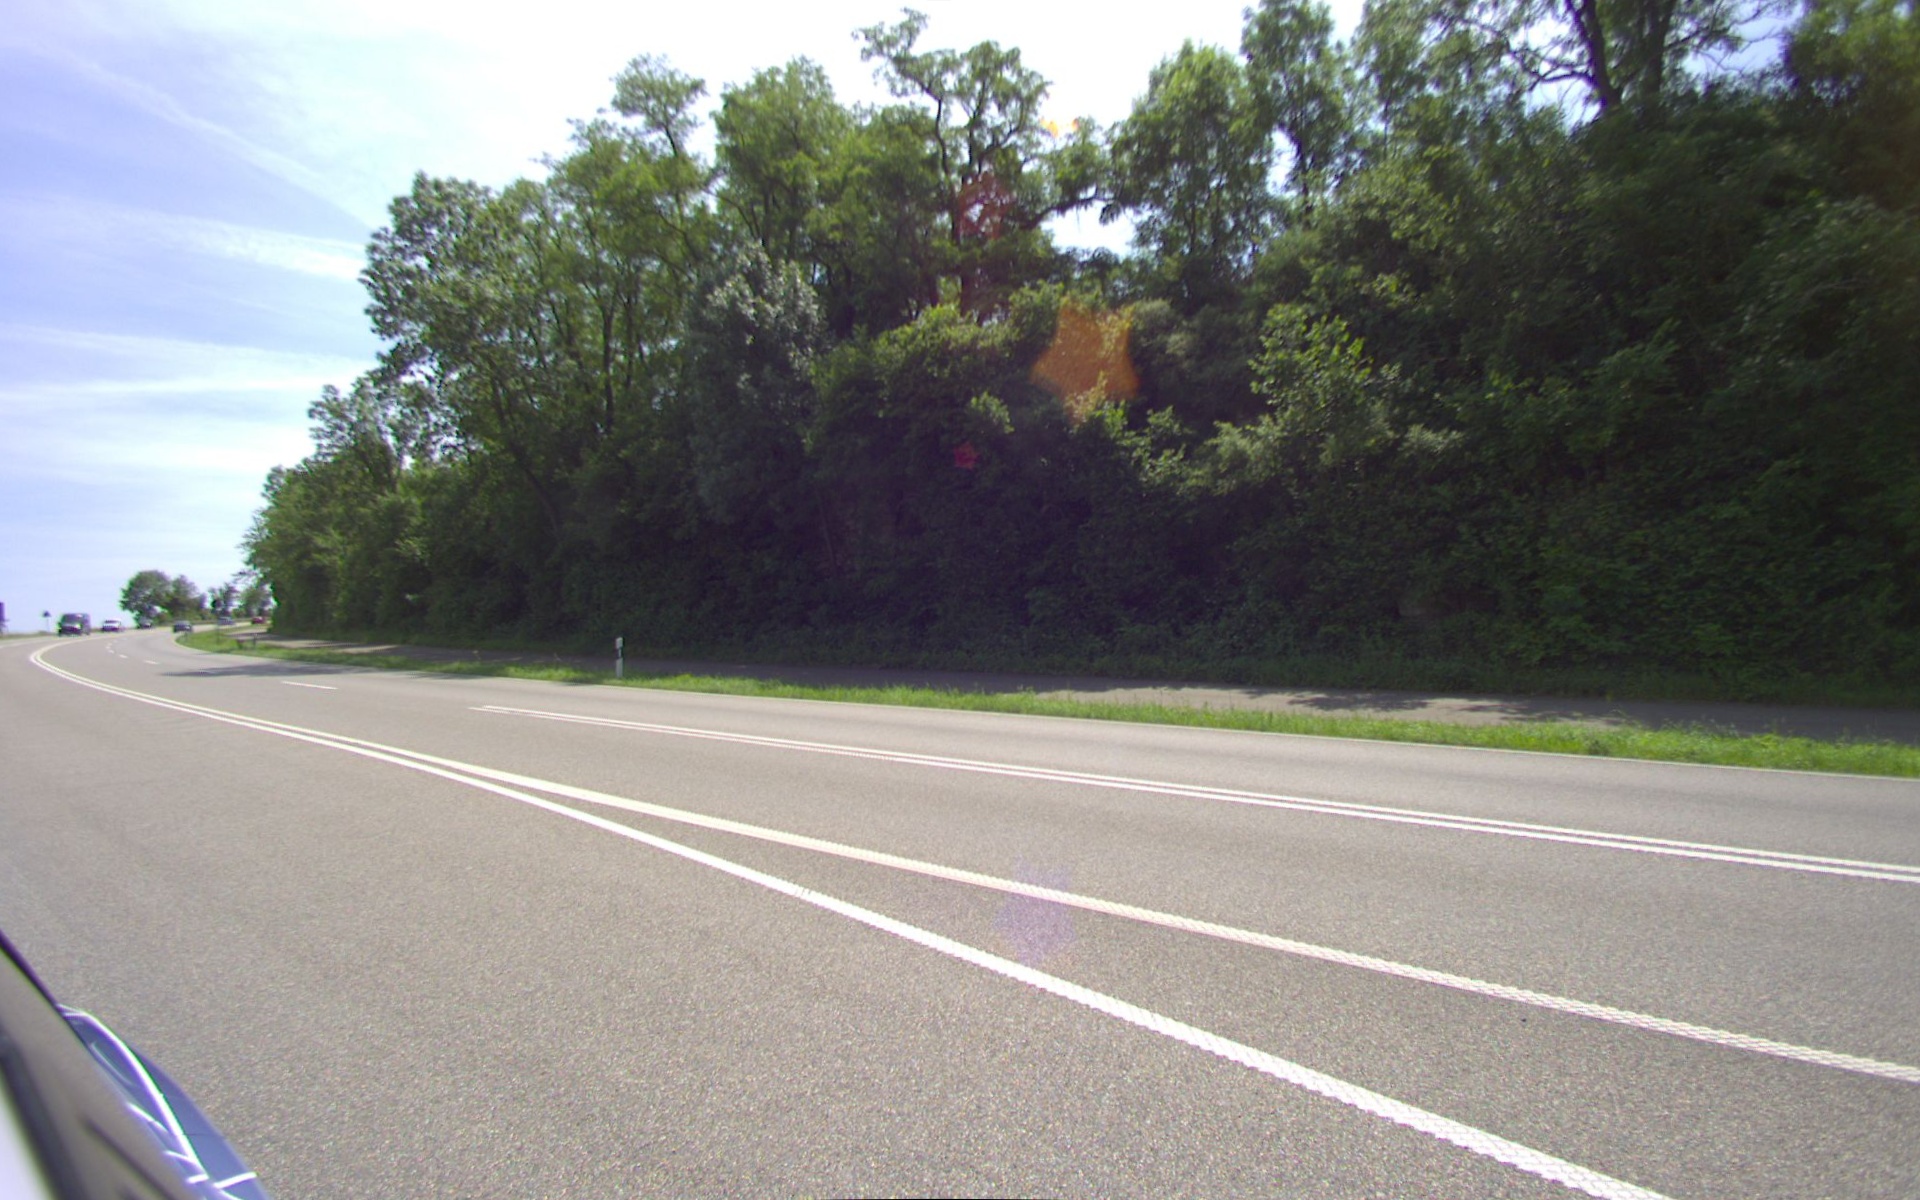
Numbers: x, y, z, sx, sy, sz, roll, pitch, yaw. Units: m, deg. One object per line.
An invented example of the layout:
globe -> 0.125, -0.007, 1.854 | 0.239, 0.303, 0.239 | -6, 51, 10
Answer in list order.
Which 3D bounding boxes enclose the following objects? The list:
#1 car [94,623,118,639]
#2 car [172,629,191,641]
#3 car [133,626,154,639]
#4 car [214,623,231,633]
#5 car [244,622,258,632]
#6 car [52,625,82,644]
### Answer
car -> -112.946, 4.037, 133.846 | 1.822, 2.029, 3.883 | 0, 0, -32
car -> -96.531, 4.296, 125.527 | 1.779, 1.398, 3.879 | -1, -1, -37
car -> -122.138, 4.817, 151.459 | 1.737, 1.874, 3.822 | 0, 0, -28
car -> -125.357, 4.761, 172.068 | 1.928, 1.741, 3.922 | -1, -1, -31
car -> -125.081, 4.776, 178.515 | 1.966, 1.687, 4.011 | -1, -1, -33
car -> -99.954, 3.895, 113.295 | 1.966, 2.029, 4.011 | -1, -1, -33
